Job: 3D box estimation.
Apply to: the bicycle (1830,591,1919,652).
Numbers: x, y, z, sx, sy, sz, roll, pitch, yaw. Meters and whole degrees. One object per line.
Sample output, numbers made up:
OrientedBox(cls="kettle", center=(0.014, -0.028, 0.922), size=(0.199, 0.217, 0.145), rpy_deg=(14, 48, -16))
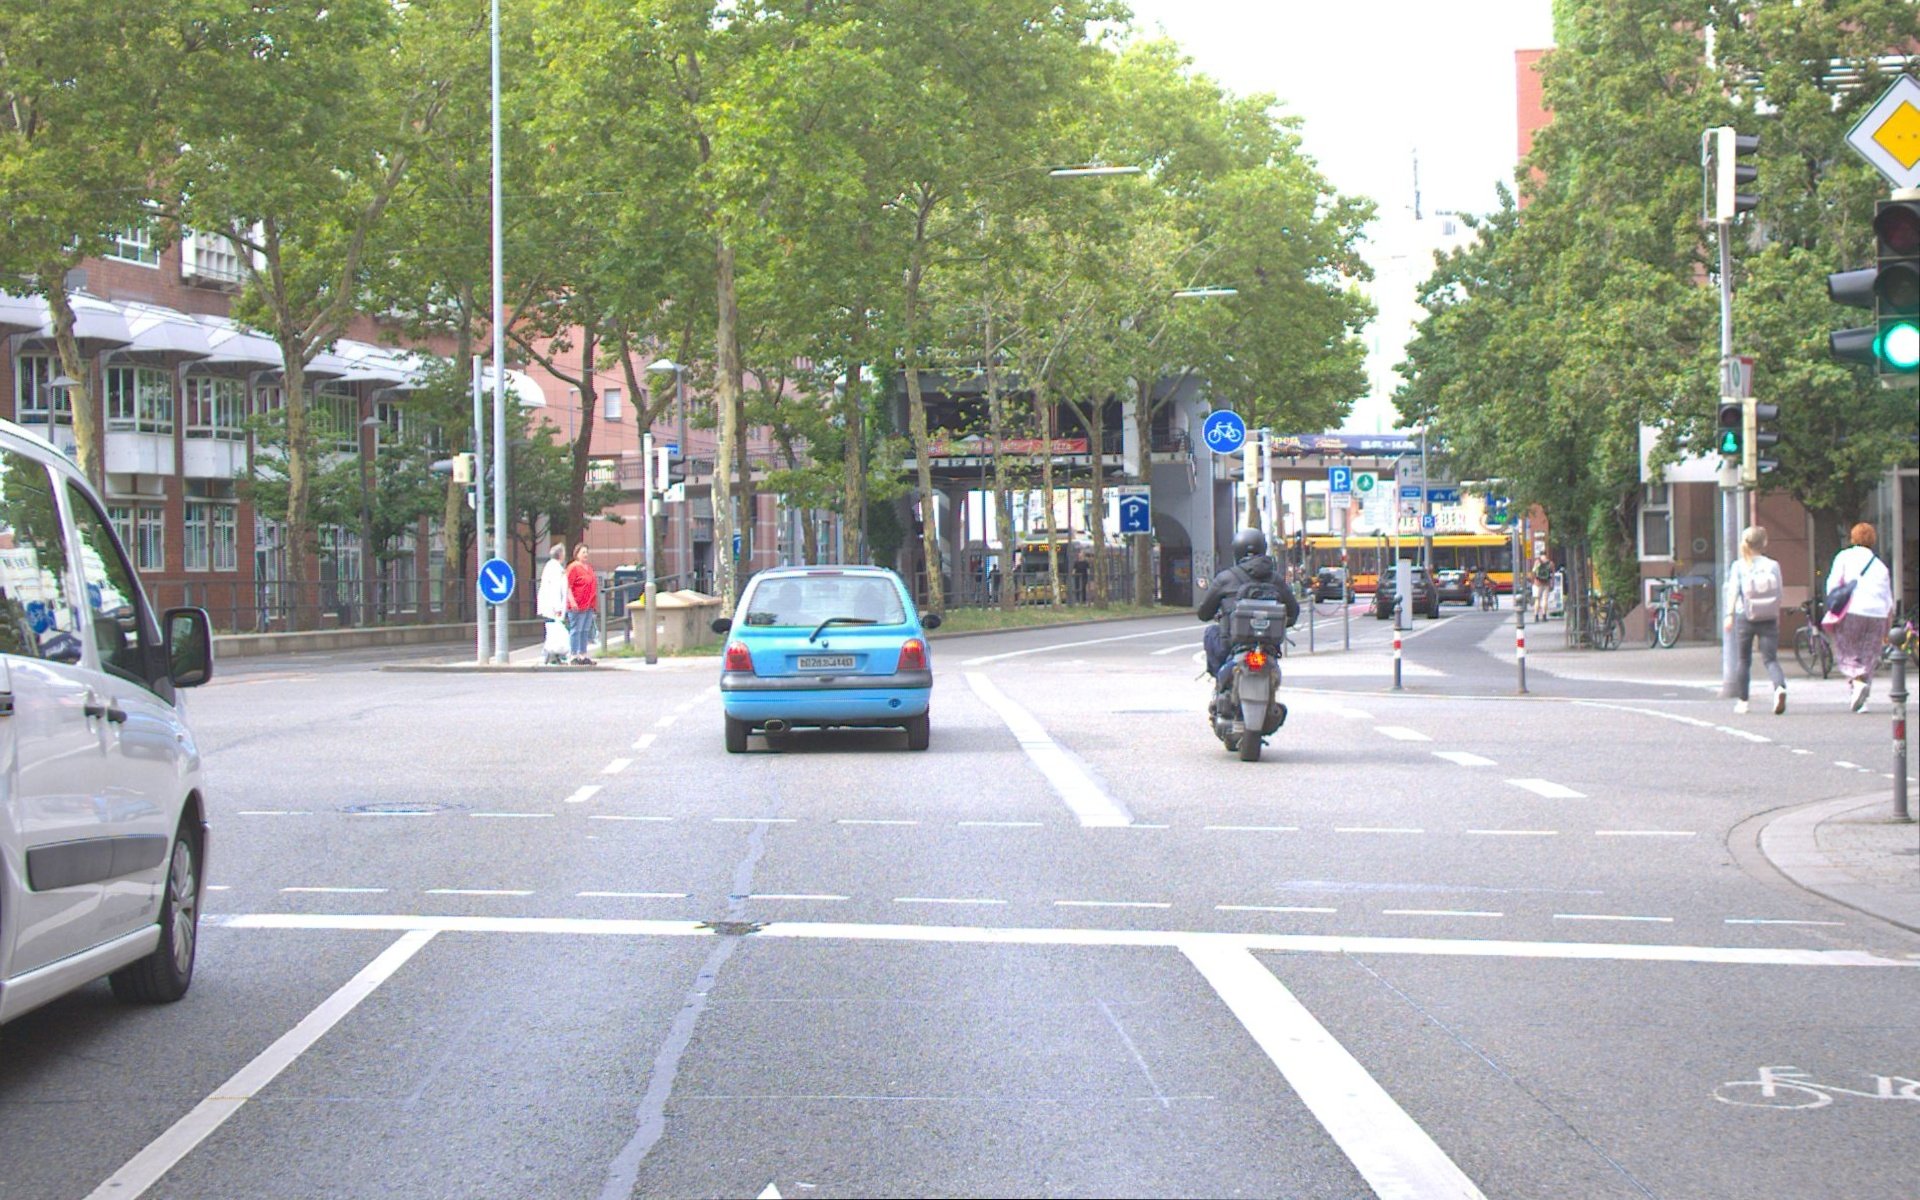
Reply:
OrientedBox(cls="bicycle", center=(12.276, 0.286, 45.772), size=(1.300, 0.811, 0.444), rpy_deg=(0, 0, 21))

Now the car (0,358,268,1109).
OrientedBox(cls="car", center=(-3.456, 0.326, 10.068), size=(1.931, 1.919, 4.956), rpy_deg=(-1, 1, -1))

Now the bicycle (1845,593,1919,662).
OrientedBox(cls="bicycle", center=(12.619, 0.361, 46.216), size=(1.300, 0.865, 0.453), rpy_deg=(-3, -1, 21))

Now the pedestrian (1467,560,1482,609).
OrientedBox(cls="pedestrian", center=(18.866, -0.569, 126.077), size=(0.510, 1.753, 0.539), rpy_deg=(-1, 0, 10))

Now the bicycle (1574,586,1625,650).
OrientedBox(cls="bicycle", center=(10.335, 0.280, 55.593), size=(0.617, 1.005, 1.735), rpy_deg=(-1, 0, 4))

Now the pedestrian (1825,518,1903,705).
OrientedBox(cls="pedestrian", center=(7.922, 0.097, 30.159), size=(0.517, 1.610, 0.850), rpy_deg=(-1, 1, 5))

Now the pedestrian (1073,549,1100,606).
OrientedBox(cls="pedestrian", center=(4.117, -0.741, 111.842), size=(0.728, 1.852, 0.870), rpy_deg=(-1, 0, 11))

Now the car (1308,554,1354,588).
OrientedBox(cls="car", center=(18.074, -1.400, 167.362), size=(1.887, 1.618, 3.998), rpy_deg=(-1, 1, 11))

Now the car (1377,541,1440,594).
OrientedBox(cls="car", center=(13.891, -1.016, 106.358), size=(1.699, 1.596, 3.998), rpy_deg=(-1, 1, 11))

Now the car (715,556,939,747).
OrientedBox(cls="car", center=(-1.002, 0.353, 27.208), size=(1.640, 1.381, 3.843), rpy_deg=(0, 1, -1))

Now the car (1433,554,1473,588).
OrientedBox(cls="car", center=(23.303, -1.380, 162.382), size=(1.699, 1.596, 3.998), rpy_deg=(-1, 1, 11))

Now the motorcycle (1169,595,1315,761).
OrientedBox(cls="motorcycle", center=(1.992, 0.530, 24.561), size=(0.767, 1.103, 2.208), rpy_deg=(-1, 0, -2))

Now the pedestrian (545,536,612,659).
OrientedBox(cls="pedestrian", center=(-5.405, -0.039, 48.723), size=(0.553, 1.712, 0.889), rpy_deg=(0, 0, 26))

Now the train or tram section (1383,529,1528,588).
OrientedBox(cls="train or tram section", center=(28.268, -2.372, 196.070), size=(8.331, 3.242, 2.397), rpy_deg=(-1, 0, -27))

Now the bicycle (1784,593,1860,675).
OrientedBox(cls="bicycle", center=(11.001, 0.428, 43.914), size=(0.617, 1.005, 1.735), rpy_deg=(-1, 0, 3))

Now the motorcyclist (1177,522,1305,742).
OrientedBox(cls="motorcyclist", center=(1.989, 0.219, 24.455), size=(0.759, 1.514, 1.018), rpy_deg=(-1, 0, -2))

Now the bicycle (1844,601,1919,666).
OrientedBox(cls="bicycle", center=(12.296, 0.441, 45.158), size=(1.299, 0.835, 0.453), rpy_deg=(0, 0, 17))

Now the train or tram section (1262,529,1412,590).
OrientedBox(cls="train or tram section", center=(21.073, -2.265, 191.754), size=(8.790, 3.242, 2.396), rpy_deg=(-1, 0, -34))

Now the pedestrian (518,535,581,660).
OrientedBox(cls="pedestrian", center=(-5.711, -0.037, 47.814), size=(0.553, 1.712, 0.890), rpy_deg=(0, 0, 16))

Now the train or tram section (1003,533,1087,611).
OrientedBox(cls="train or tram section", center=(3.736, -1.219, 149.005), size=(2.390, 3.242, 8.814), rpy_deg=(-1, 0, 9))

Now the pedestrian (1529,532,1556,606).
OrientedBox(cls="pedestrian", center=(14.556, -0.779, 85.943), size=(0.647, 1.852, 0.782), rpy_deg=(-1, 0, 9))

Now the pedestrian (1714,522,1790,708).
OrientedBox(cls="pedestrian", center=(6.979, 0.127, 30.314), size=(0.517, 1.610, 0.851), rpy_deg=(-1, 1, 4))

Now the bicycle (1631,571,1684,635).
OrientedBox(cls="bicycle", center=(11.305, 0.041, 55.739), size=(0.617, 1.005, 1.735), rpy_deg=(-1, 0, 4))
